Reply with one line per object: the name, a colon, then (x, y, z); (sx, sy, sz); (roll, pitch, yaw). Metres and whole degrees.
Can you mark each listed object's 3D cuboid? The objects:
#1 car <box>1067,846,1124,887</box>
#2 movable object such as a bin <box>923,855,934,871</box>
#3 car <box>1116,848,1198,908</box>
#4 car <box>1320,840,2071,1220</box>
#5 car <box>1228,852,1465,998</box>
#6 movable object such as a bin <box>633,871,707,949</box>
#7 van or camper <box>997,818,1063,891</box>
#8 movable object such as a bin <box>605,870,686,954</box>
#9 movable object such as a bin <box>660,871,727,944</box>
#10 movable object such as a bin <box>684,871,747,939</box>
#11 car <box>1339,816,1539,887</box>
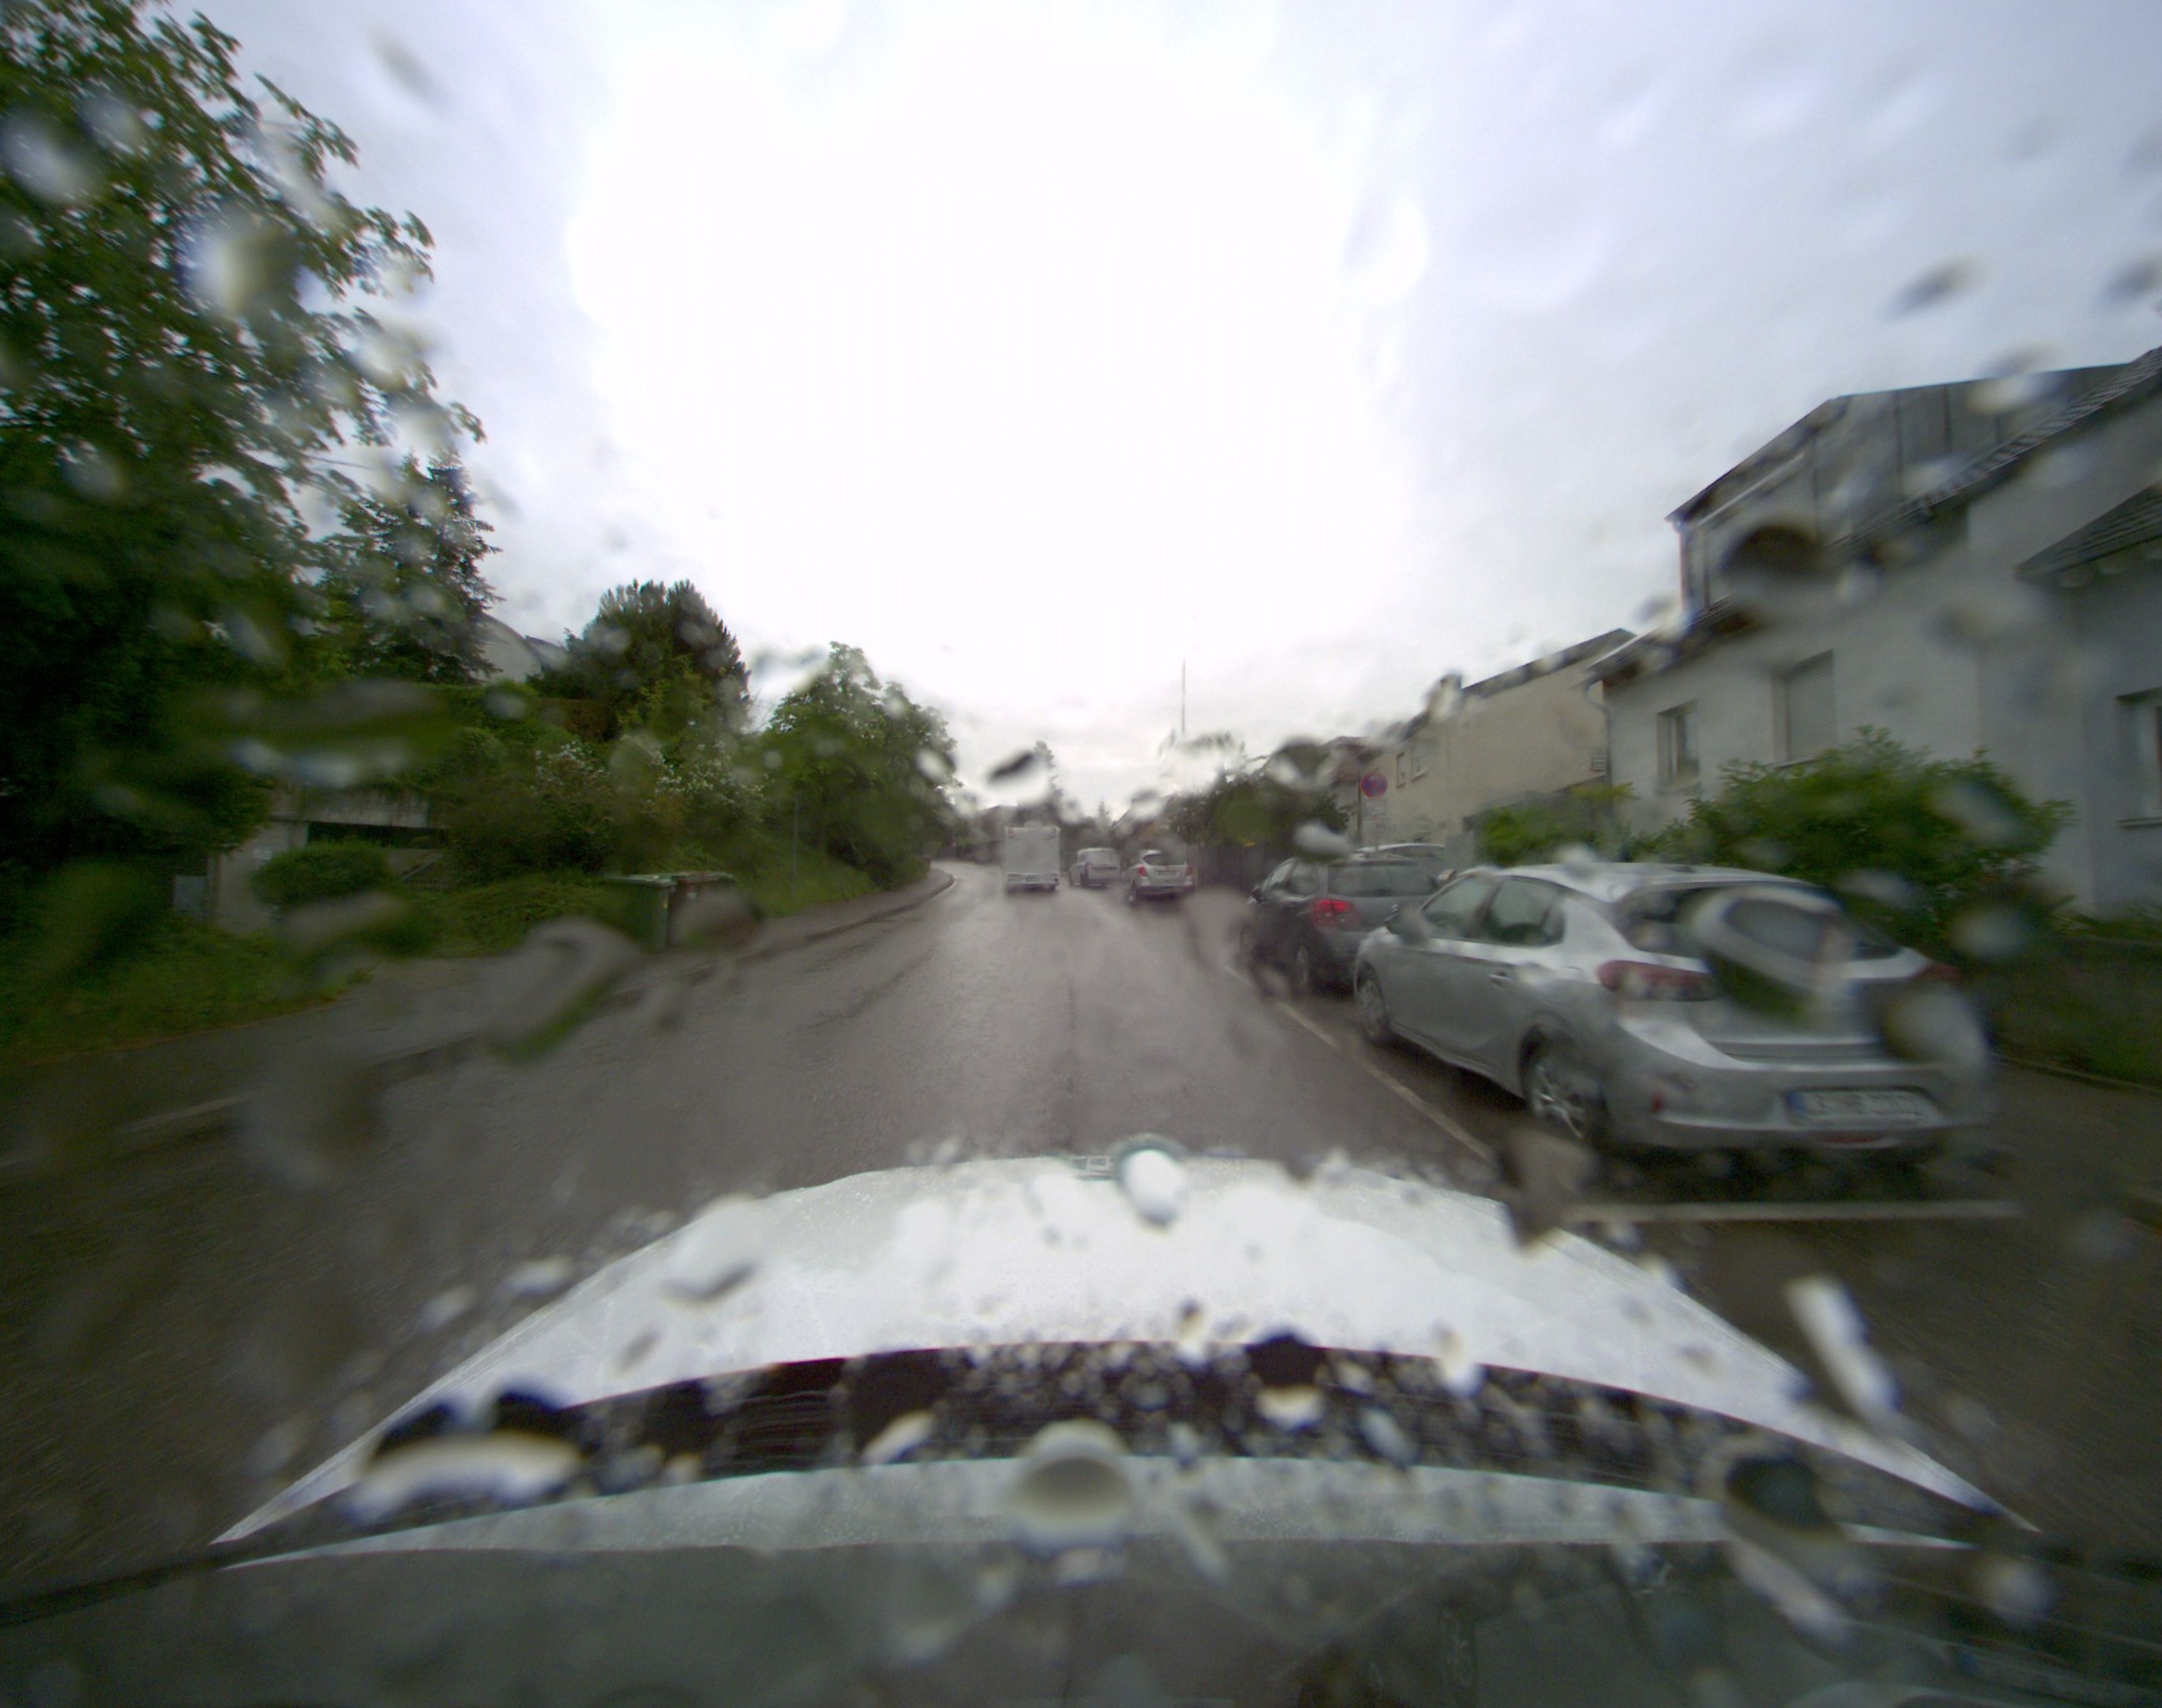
car: (0.590, 0.569, 38.009); (1.779, 1.803, 4.690); (0, -1, -10)
movable object such as a bin: (-11.327, 0.690, 60.393); (0.694, 1.090, 0.801); (3, 3, -9)
car: (2.249, 0.683, 25.136); (1.801, 1.626, 4.281); (-2, 0, -4)
car: (3.097, 0.708, 5.394); (1.763, 1.467, 4.234); (-2, 0, 0)
car: (3.130, 0.747, 10.429); (1.655, 1.467, 3.760); (-2, 0, -2)
movable object such as a bin: (-6.084, 0.809, 12.094); (0.767, 1.096, 0.736); (-1, -1, -6)
van or camper: (-2.338, 0.041, 35.692); (2.538, 2.925, 5.933); (0, -1, -7)
movable object such as a bin: (-6.041, 0.788, 11.336); (0.767, 1.096, 0.736); (-1, -1, -6)
movable object such as a bin: (-6.093, 0.821, 12.838); (0.767, 1.096, 0.670); (-1, -1, -6)
movable object such as a bin: (-6.078, 0.831, 13.566); (0.767, 1.068, 0.689); (-1, -1, -6)
car: (8.473, -0.033, 19.539); (3.973, 1.590, 1.935); (0, -2, 0)
